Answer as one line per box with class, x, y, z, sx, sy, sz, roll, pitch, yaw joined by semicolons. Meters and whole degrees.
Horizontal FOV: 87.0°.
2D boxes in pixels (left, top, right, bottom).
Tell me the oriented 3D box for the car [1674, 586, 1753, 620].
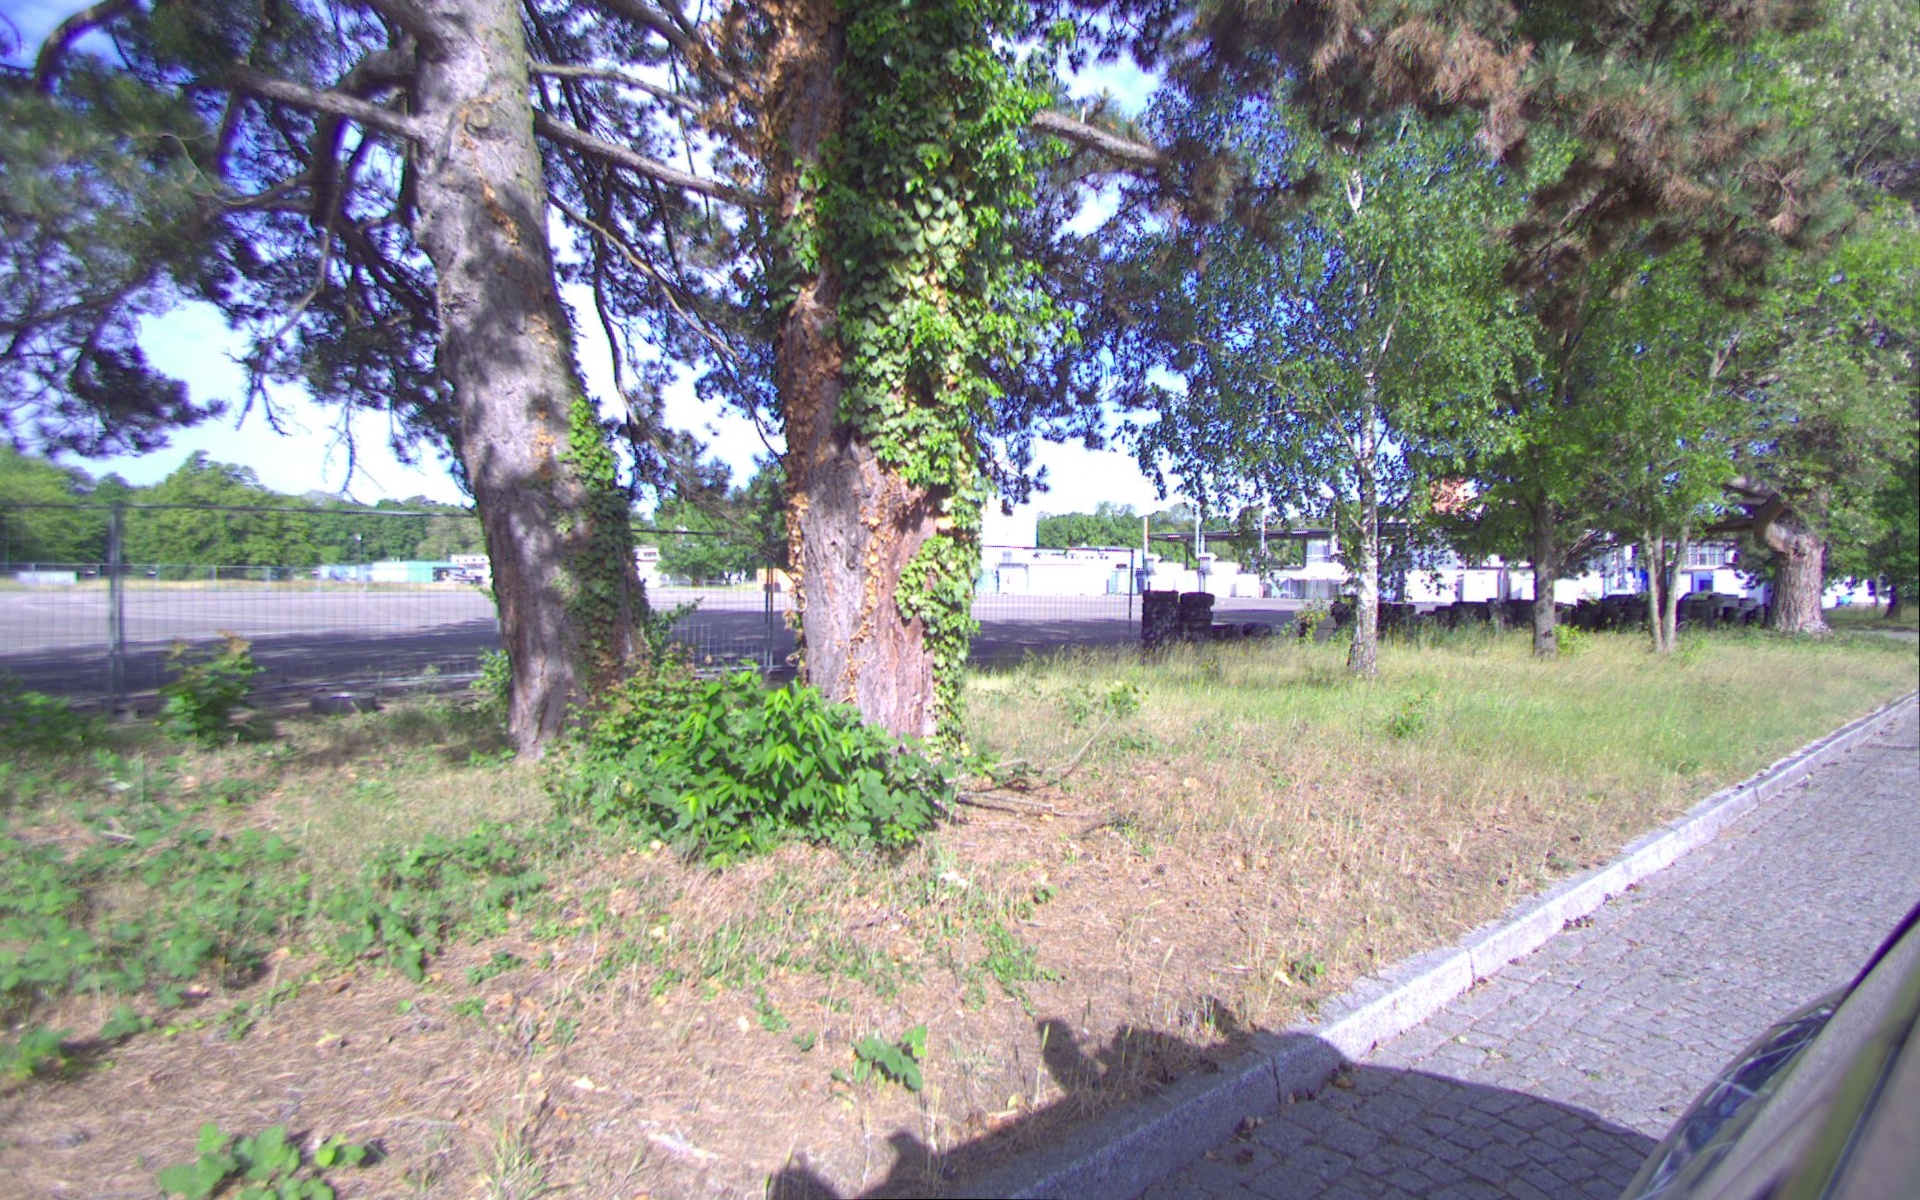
car;35.022;0.106;47.029;3.924;1.467;1.848;0;1;-36
